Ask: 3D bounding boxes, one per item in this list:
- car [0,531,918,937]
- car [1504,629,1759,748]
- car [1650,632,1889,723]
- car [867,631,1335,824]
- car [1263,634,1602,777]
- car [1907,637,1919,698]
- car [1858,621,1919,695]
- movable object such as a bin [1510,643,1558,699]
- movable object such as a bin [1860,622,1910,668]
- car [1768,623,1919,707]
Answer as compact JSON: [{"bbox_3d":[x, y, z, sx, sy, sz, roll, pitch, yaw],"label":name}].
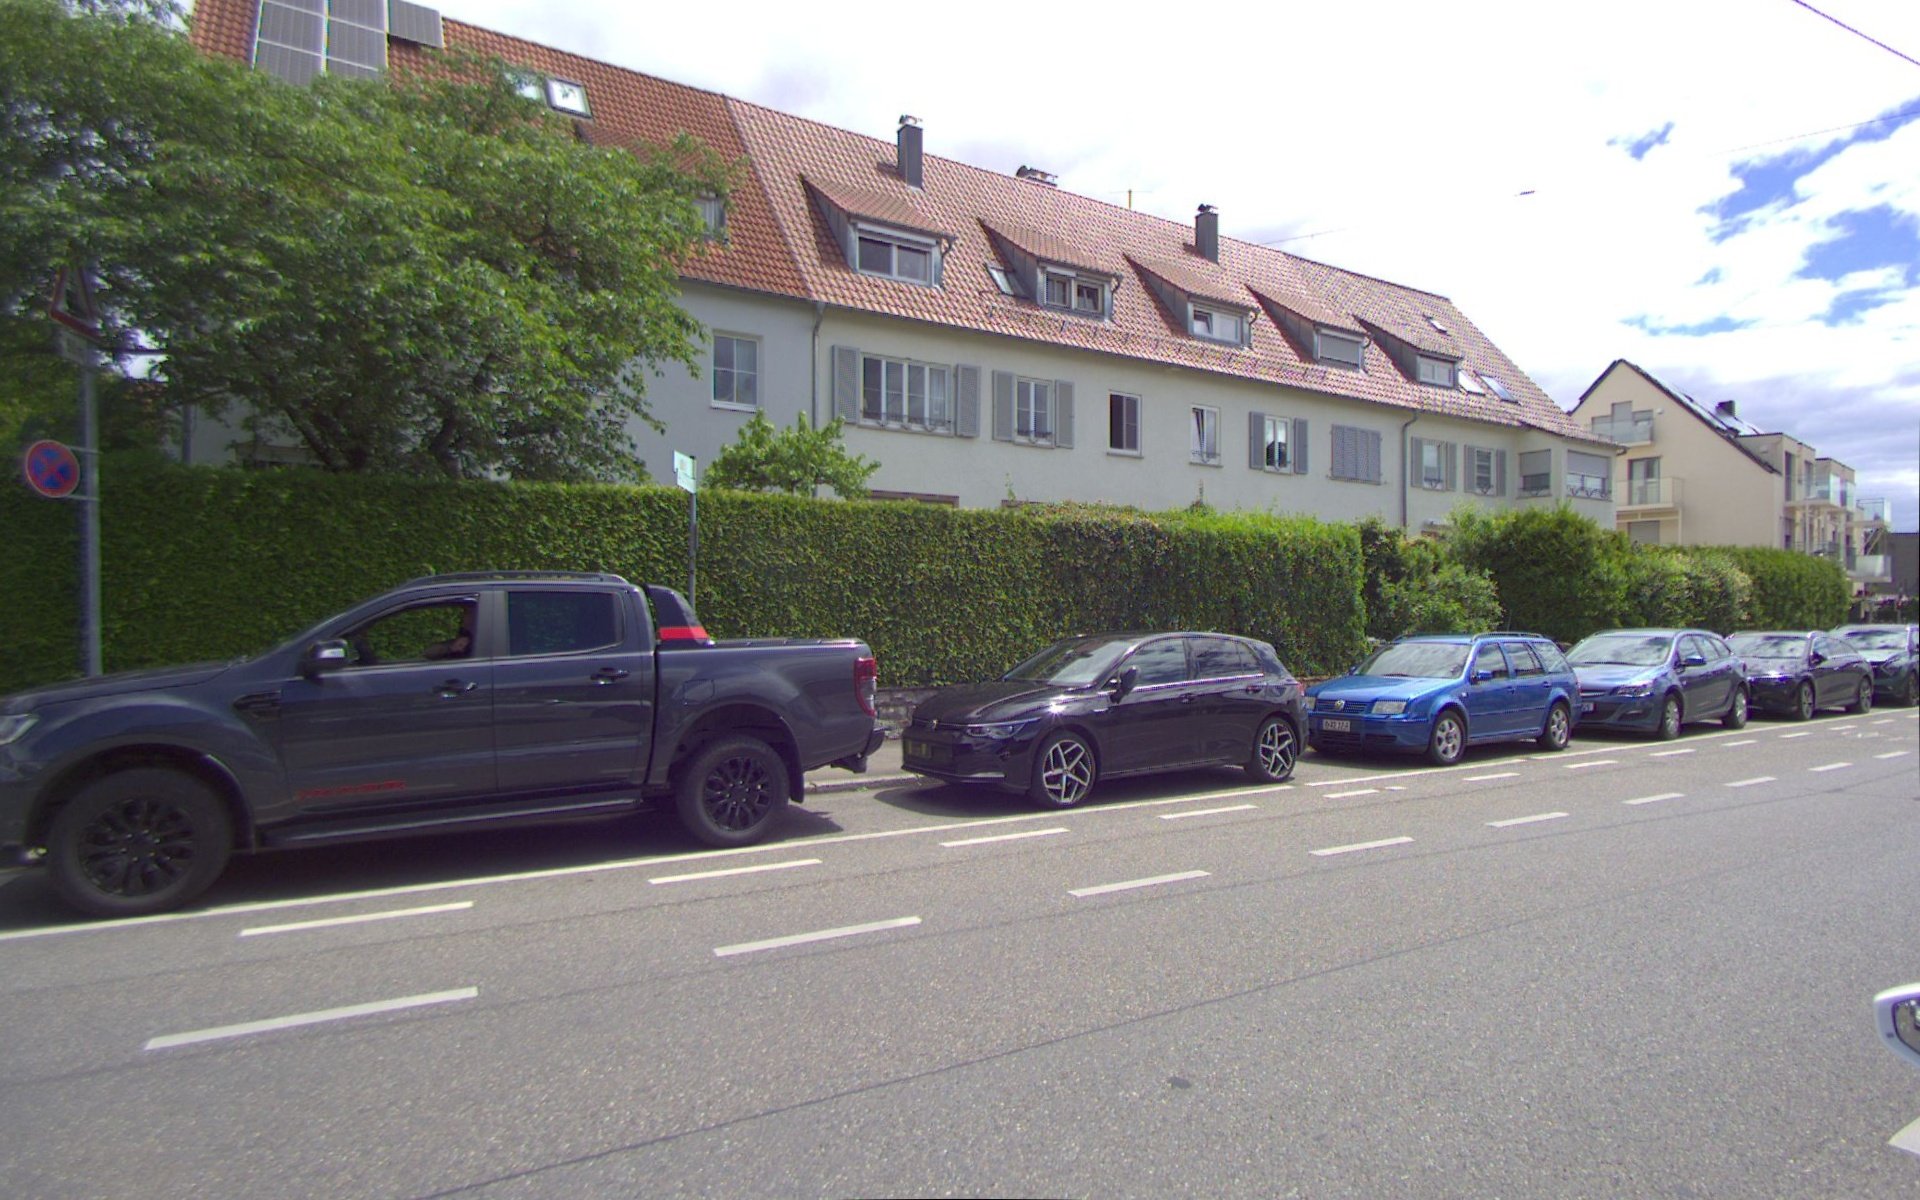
[{"bbox_3d":[-3.090,0.714,6.825,5.342,1.920,1.984,1,-3,-32],"label":"car"},{"bbox_3d":[10.076,1.198,14.950,4.523,1.511,1.765,1,-1,-37],"label":"car"},{"bbox_3d":[14.635,1.305,18.105,4.638,1.427,1.983,1,-1,-32],"label":"car"},{"bbox_3d":[1.428,1.026,9.510,4.291,1.436,1.768,1,-1,-32],"label":"car"},{"bbox_3d":[5.868,1.154,12.300,4.393,1.436,1.767,1,-1,-34],"label":"car"},{"bbox_3d":[27.641,1.830,27.308,4.445,1.608,1.980,1,-1,-36],"label":"car"},{"bbox_3d":[23.557,1.366,24.106,4.471,1.672,1.981,1,-1,-34],"label":"car"},{"bbox_3d":[11.048,1.355,19.342,0.629,1.016,0.572,1,1,-37],"label":"movable object such as a bin"},{"bbox_3d":[31.676,1.527,34.404,1.202,1.501,1.058,1,-1,-36],"label":"movable object such as a bin"},{"bbox_3d":[19.265,1.307,21.265,4.638,1.584,1.983,1,-1,-32],"label":"car"}]
